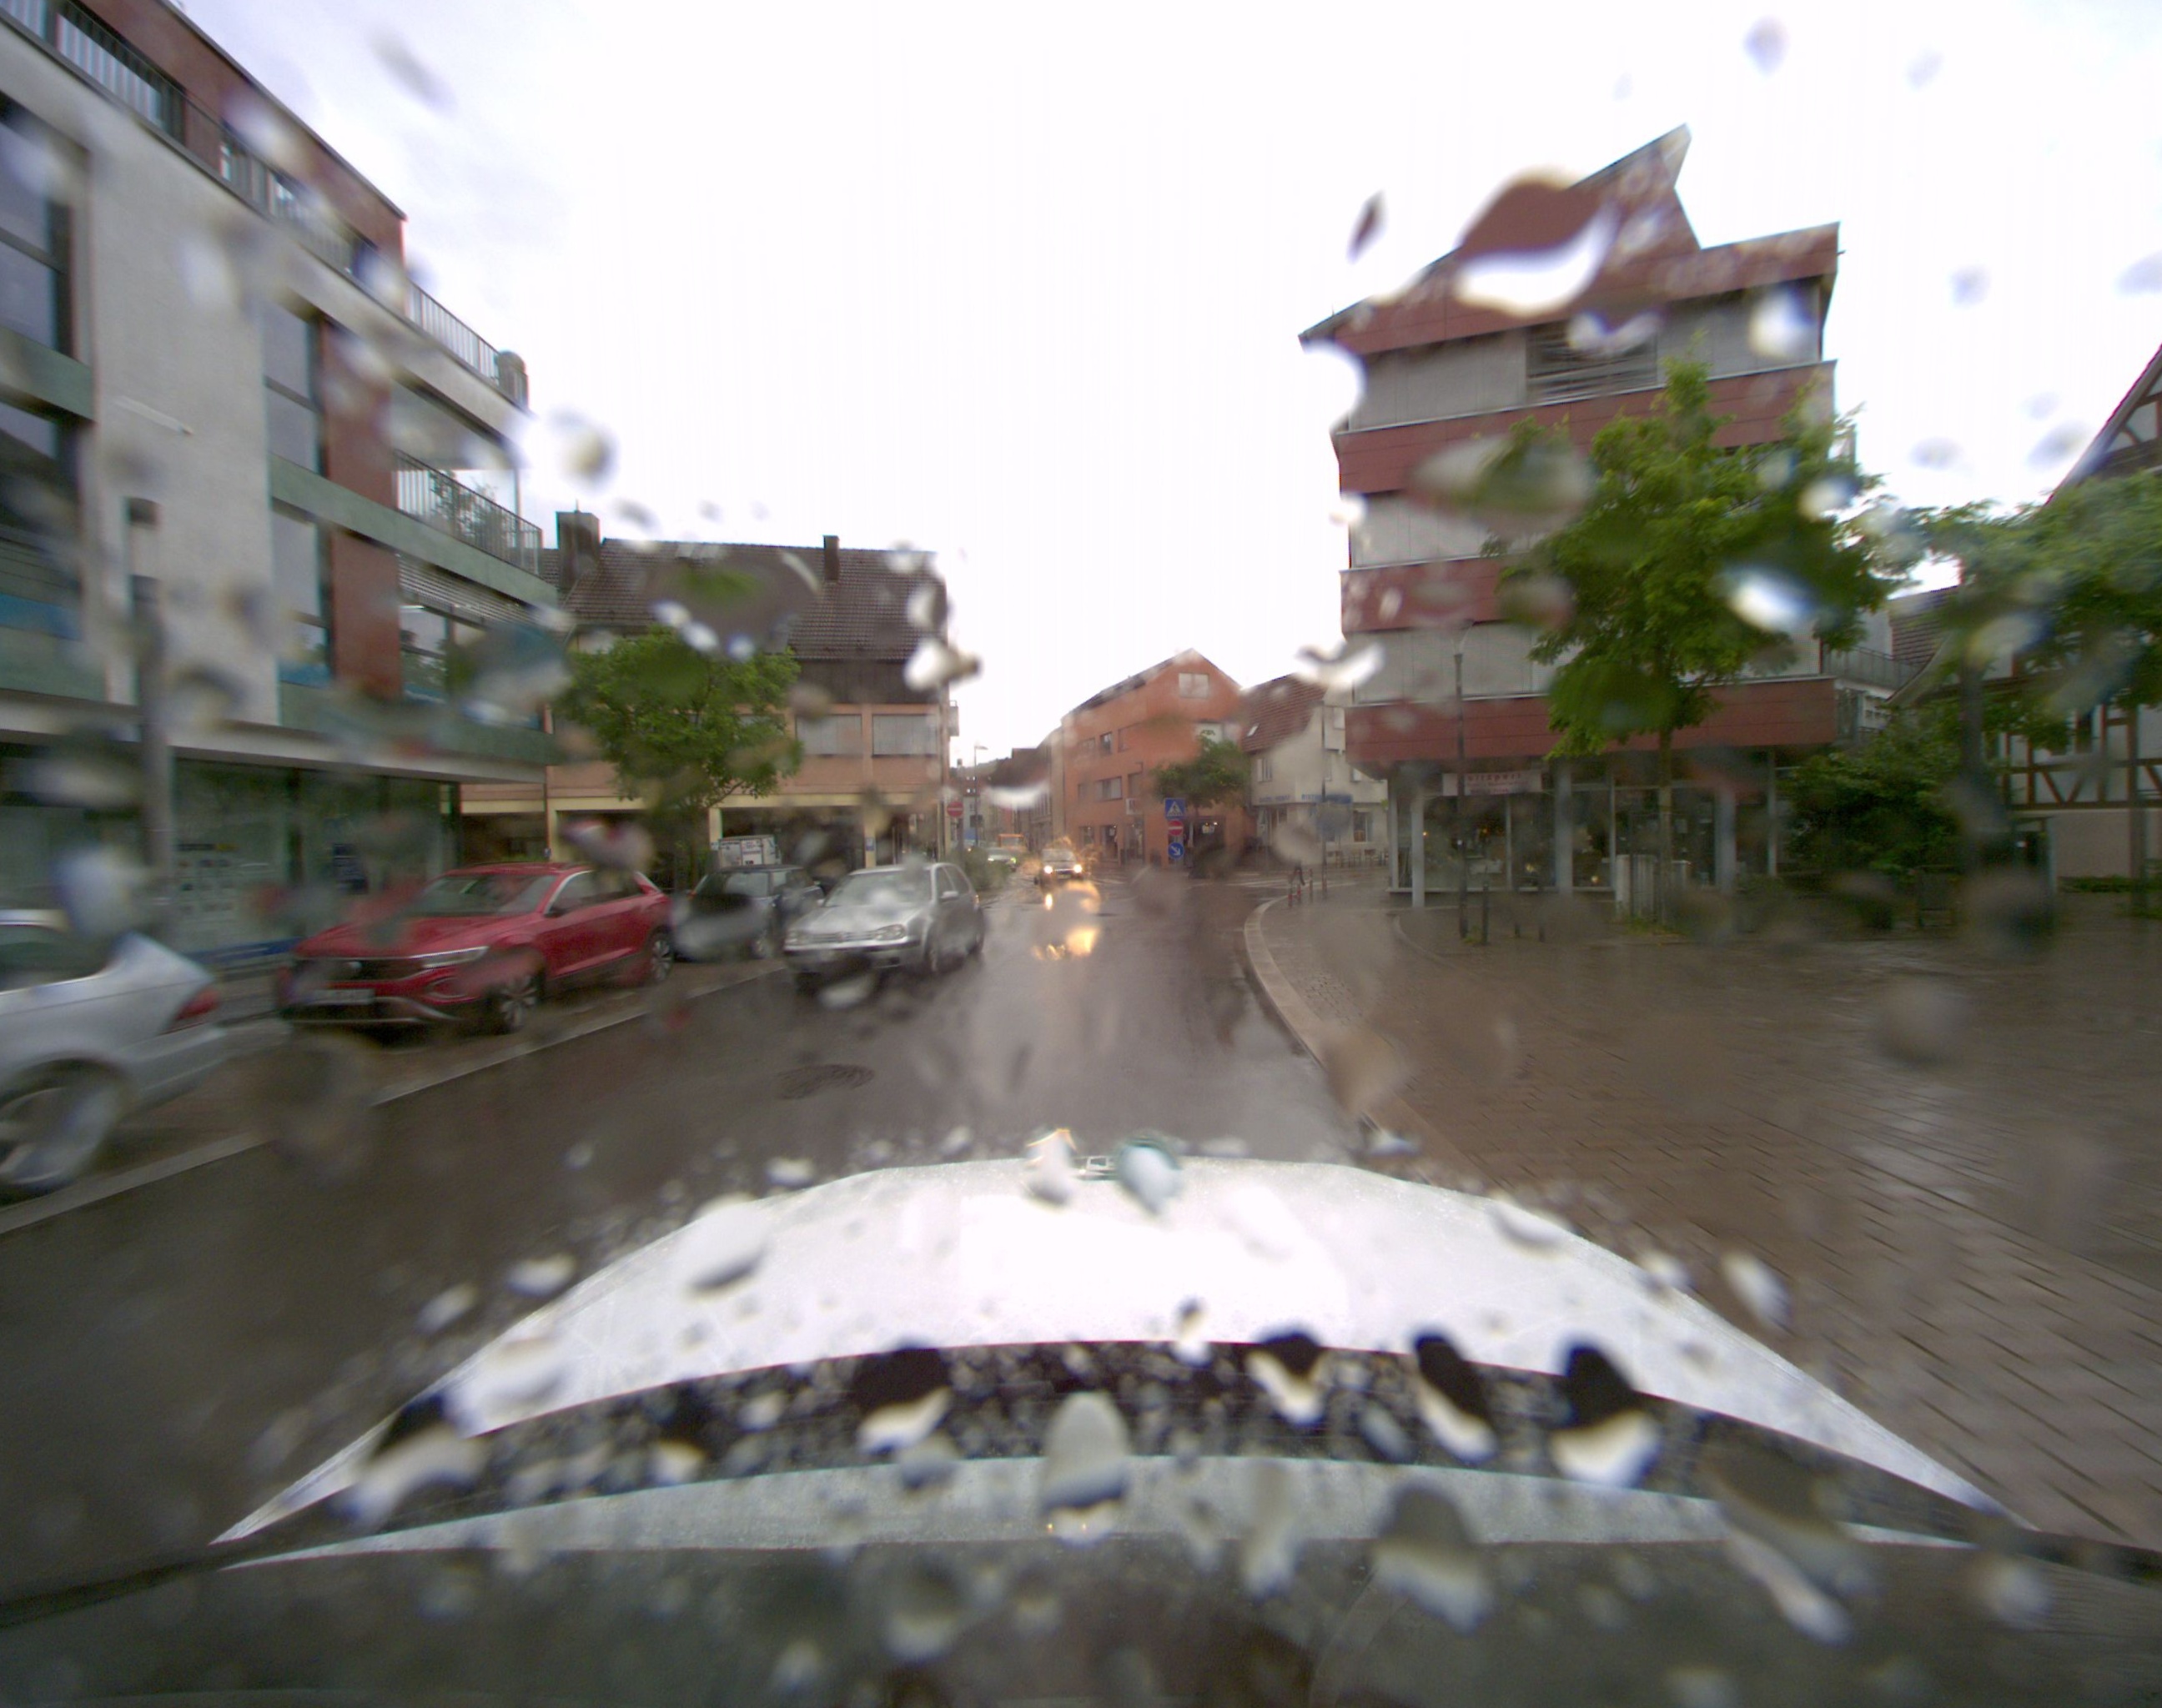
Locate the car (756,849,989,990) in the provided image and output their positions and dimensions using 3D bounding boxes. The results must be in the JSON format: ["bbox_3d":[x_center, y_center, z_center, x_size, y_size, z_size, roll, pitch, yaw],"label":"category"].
[{"bbox_3d":[-2.501,0.701,10.859,1.783,1.417,4.032,-4,0,3],"label":"car"}]

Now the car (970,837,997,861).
[{"bbox_3d":[-9.189,-0.455,76.376,2.104,2.146,4.850,-3,1,-10],"label":"car"}]

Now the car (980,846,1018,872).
[{"bbox_3d":[-5.006,0.289,49.318,1.994,1.441,4.149,-2,1,-10],"label":"car"}]

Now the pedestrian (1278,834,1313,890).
[{"bbox_3d":[7.471,0.269,28.352,0.762,1.914,0.854,-2,0,-41],"label":"pedestrian"}]

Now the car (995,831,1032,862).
[{"bbox_3d":[-5.241,-0.554,62.689,2.105,2.146,4.847,-3,1,-12],"label":"car"}]

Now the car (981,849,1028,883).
[{"bbox_3d":[-3.509,0.491,36.948,1.716,1.458,3.895,-1,1,-12],"label":"car"}]

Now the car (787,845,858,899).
[{"bbox_3d":[-9.045,0.575,28.813,1.576,1.478,3.817,-1,5,-6],"label":"car"}]

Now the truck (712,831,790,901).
[{"bbox_3d":[-11.511,0.356,28.604,1.595,2.062,3.186,-3,5,-7],"label":"truck"}]

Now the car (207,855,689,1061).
[{"bbox_3d":[-6.050,0.834,8.571,1.780,1.576,4.107,-2,0,0],"label":"car"}]

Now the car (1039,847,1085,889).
[{"bbox_3d":[-0.795,0.498,32.086,1.644,1.445,3.980,-3,1,-3],"label":"car"}]

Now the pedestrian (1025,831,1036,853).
[{"bbox_3d":[-4.635,-1.092,74.735,0.867,2.013,0.705,-2,1,-13],"label":"pedestrian"}]

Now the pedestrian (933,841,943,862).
[{"bbox_3d":[-14.198,-0.245,80.768,0.835,2.013,0.850,-2,1,-14],"label":"pedestrian"}]

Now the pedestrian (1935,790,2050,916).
[{"bbox_3d":[13.521,-0.010,12.109,0.838,1.784,0.711,-3,0,17],"label":"pedestrian"}]

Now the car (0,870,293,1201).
[{"bbox_3d":[-5.924,0.888,2.921,1.780,1.498,4.455,-2,0,0],"label":"car"}]

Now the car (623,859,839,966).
[{"bbox_3d":[-5.572,0.848,13.555,1.707,1.458,3.913,0,1,3],"label":"car"}]
